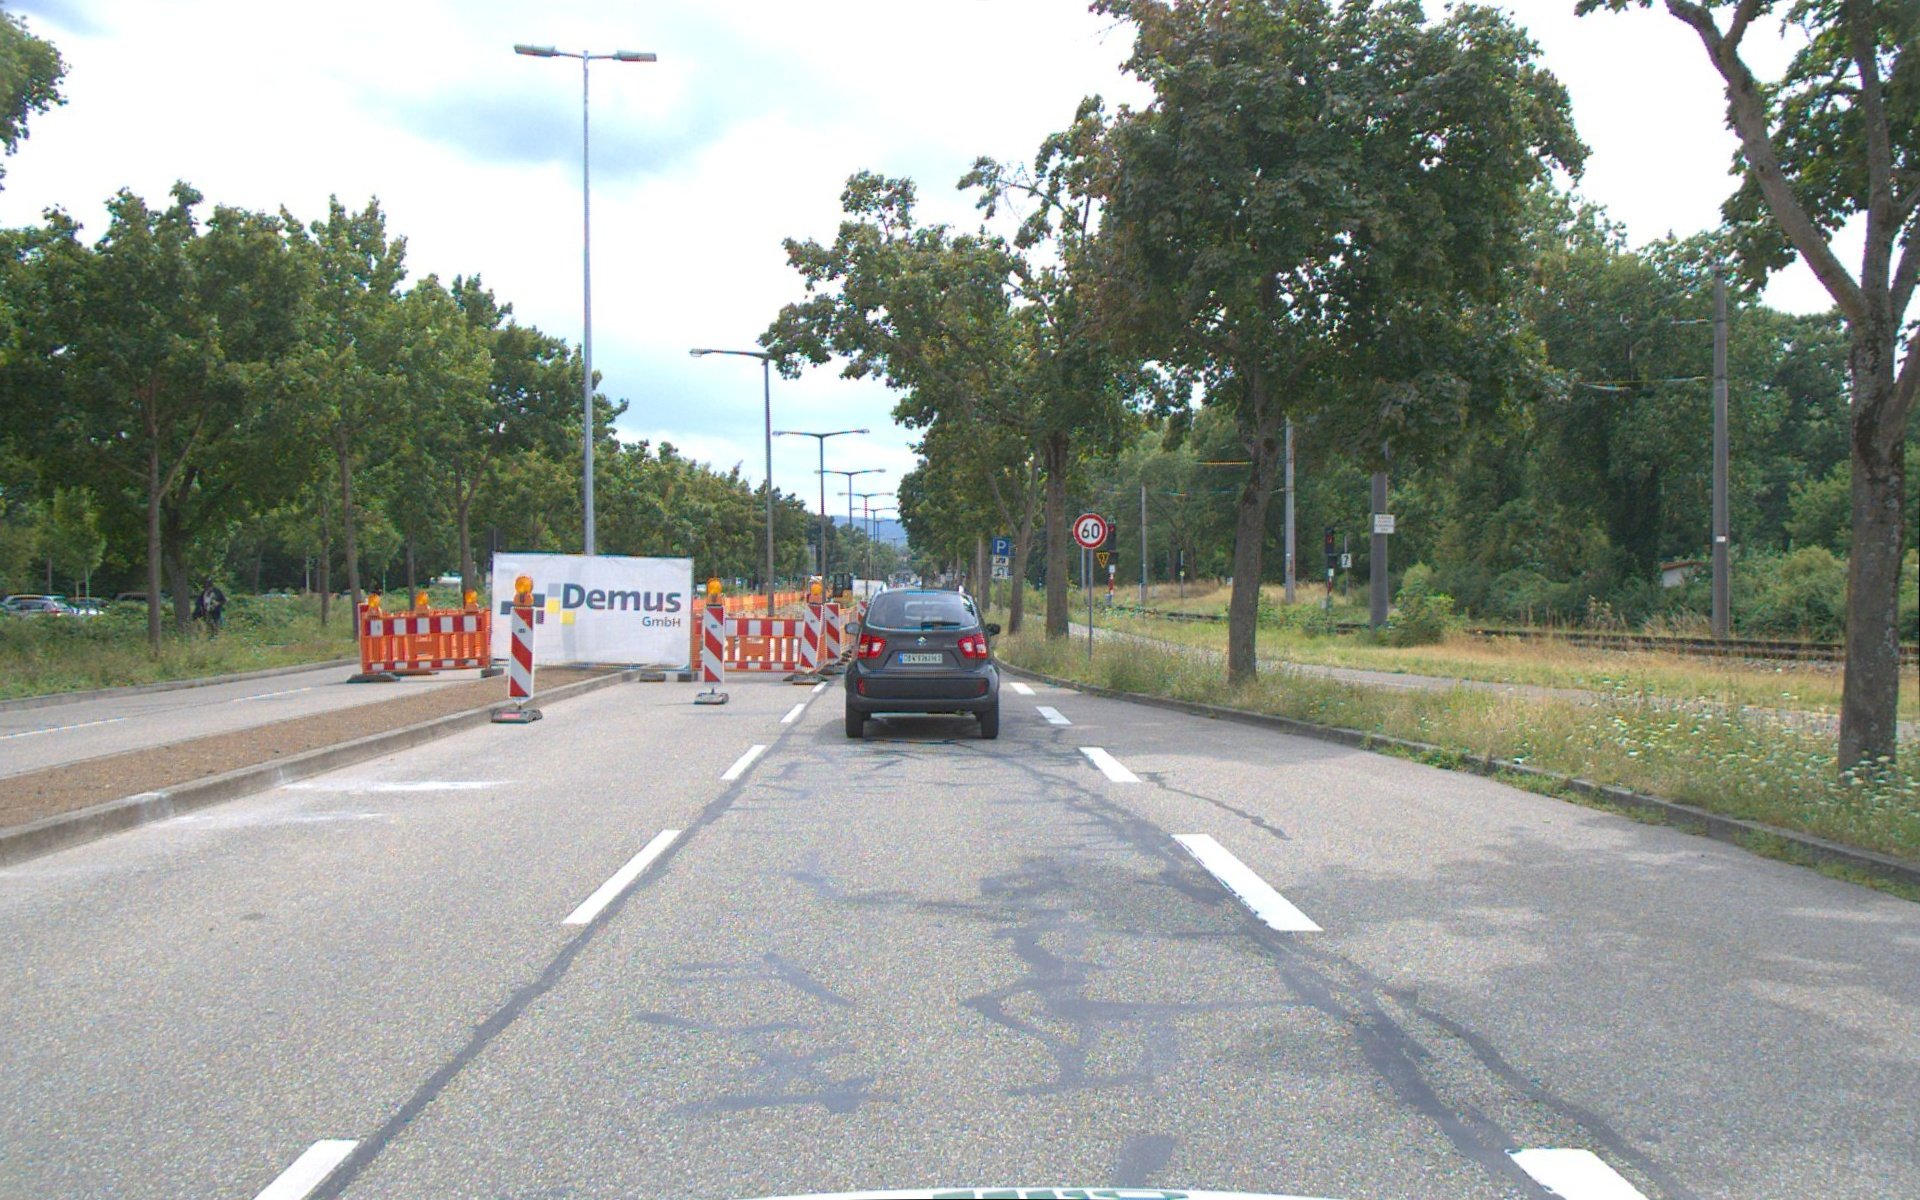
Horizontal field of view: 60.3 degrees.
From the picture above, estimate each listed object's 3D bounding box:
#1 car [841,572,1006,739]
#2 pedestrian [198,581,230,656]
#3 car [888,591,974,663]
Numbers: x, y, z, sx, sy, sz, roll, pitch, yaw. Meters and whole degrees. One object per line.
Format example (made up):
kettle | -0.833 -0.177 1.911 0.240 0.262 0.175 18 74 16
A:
car | -0.441 0.534 18.779 1.669 1.697 3.999 0 1 -2
pedestrian | -18.713 0.460 41.504 0.681 1.870 0.647 0 1 -23
car | -0.703 0.576 37.430 1.732 1.489 3.997 0 1 -4
